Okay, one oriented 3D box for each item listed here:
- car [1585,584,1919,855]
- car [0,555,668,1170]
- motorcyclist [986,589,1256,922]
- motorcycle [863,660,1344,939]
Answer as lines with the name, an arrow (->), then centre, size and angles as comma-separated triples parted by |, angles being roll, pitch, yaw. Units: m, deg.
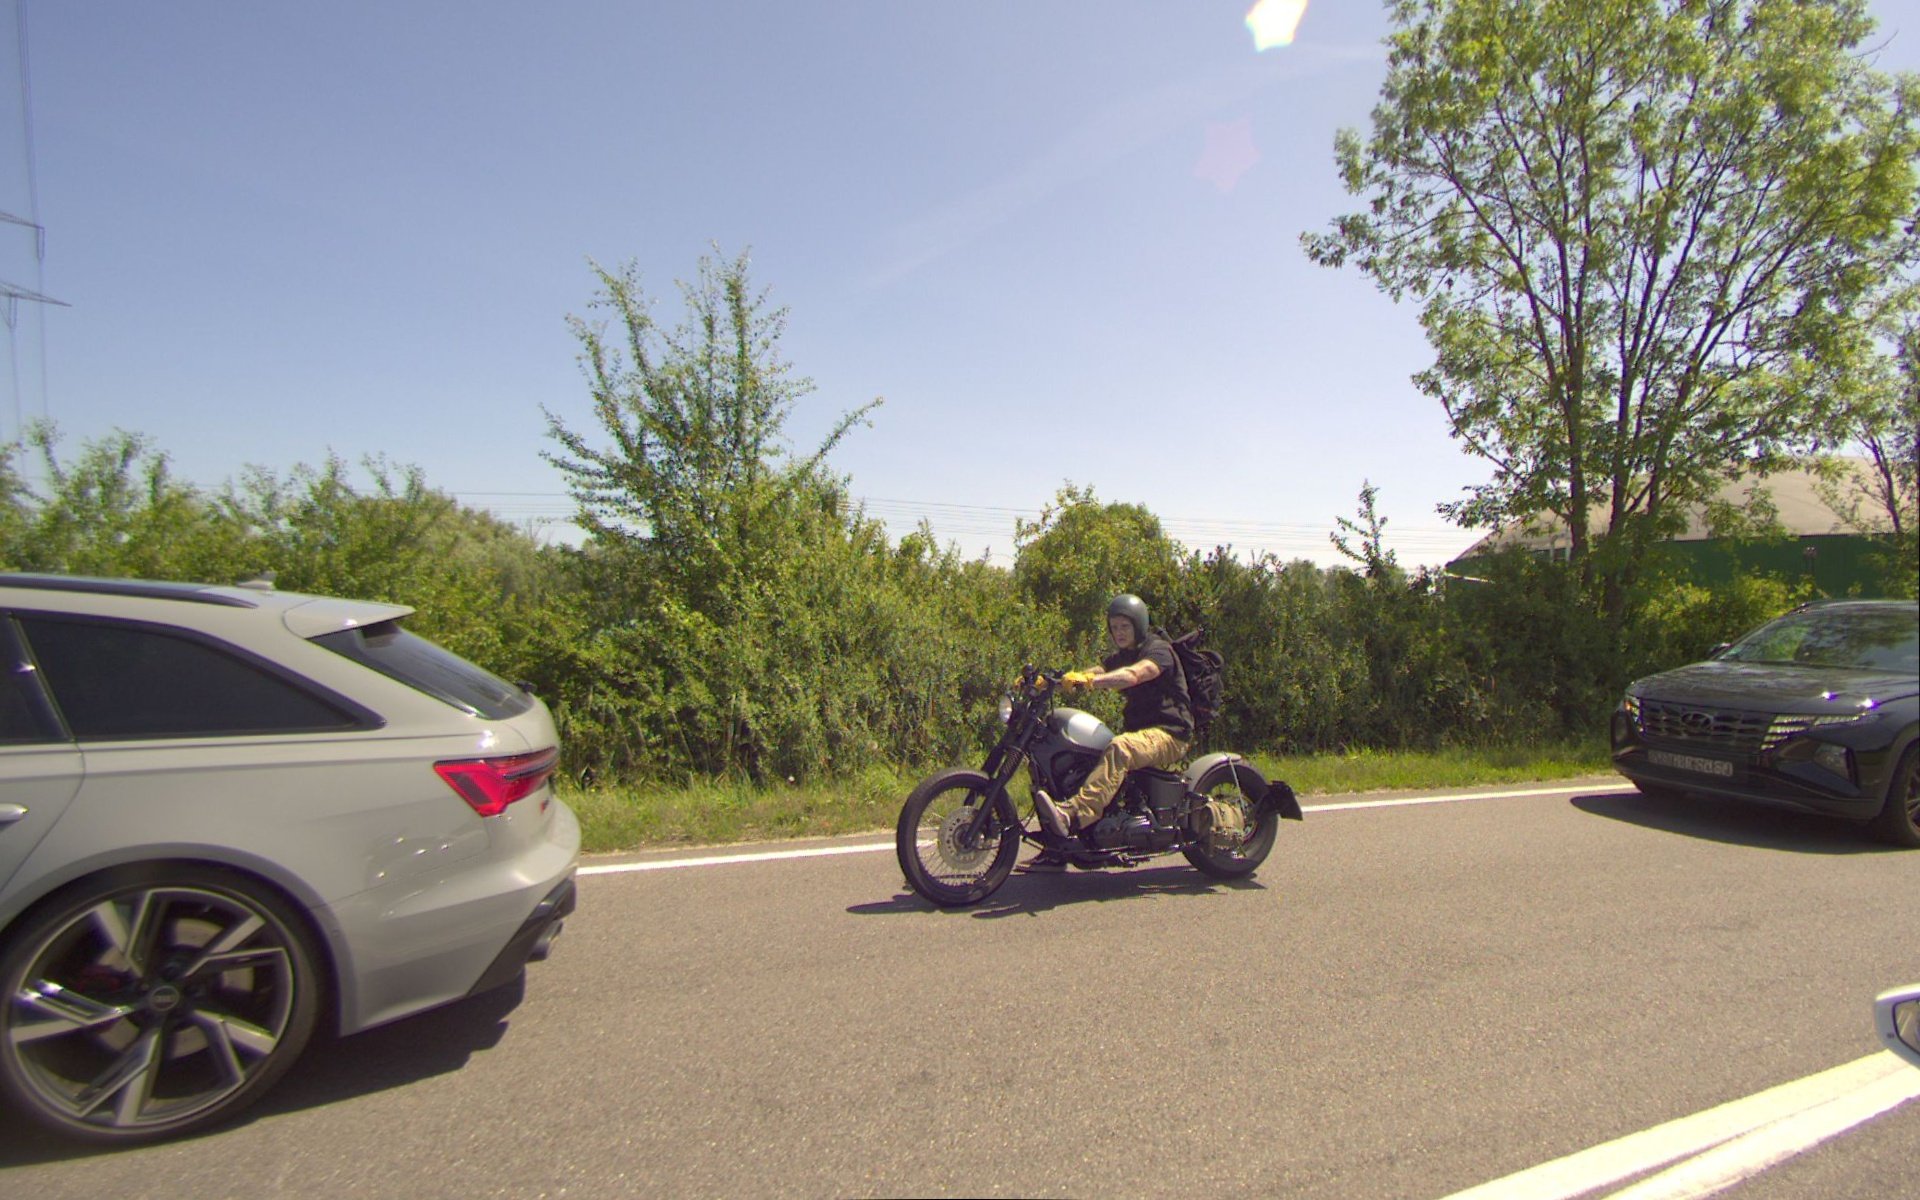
car -> 7.083, 0.761, 7.677 | 4.185, 1.660, 1.699 | 1, 0, -20
car -> -3.440, 0.606, 2.890 | 4.745, 1.479, 1.835 | 2, -1, -26
motorcyclist -> 0.817, 0.728, 5.182 | 1.116, 1.515, 0.778 | 2, -1, -26
motorcycle -> 0.778, 0.909, 5.156 | 2.397, 1.138, 0.779 | 2, 0, -26
